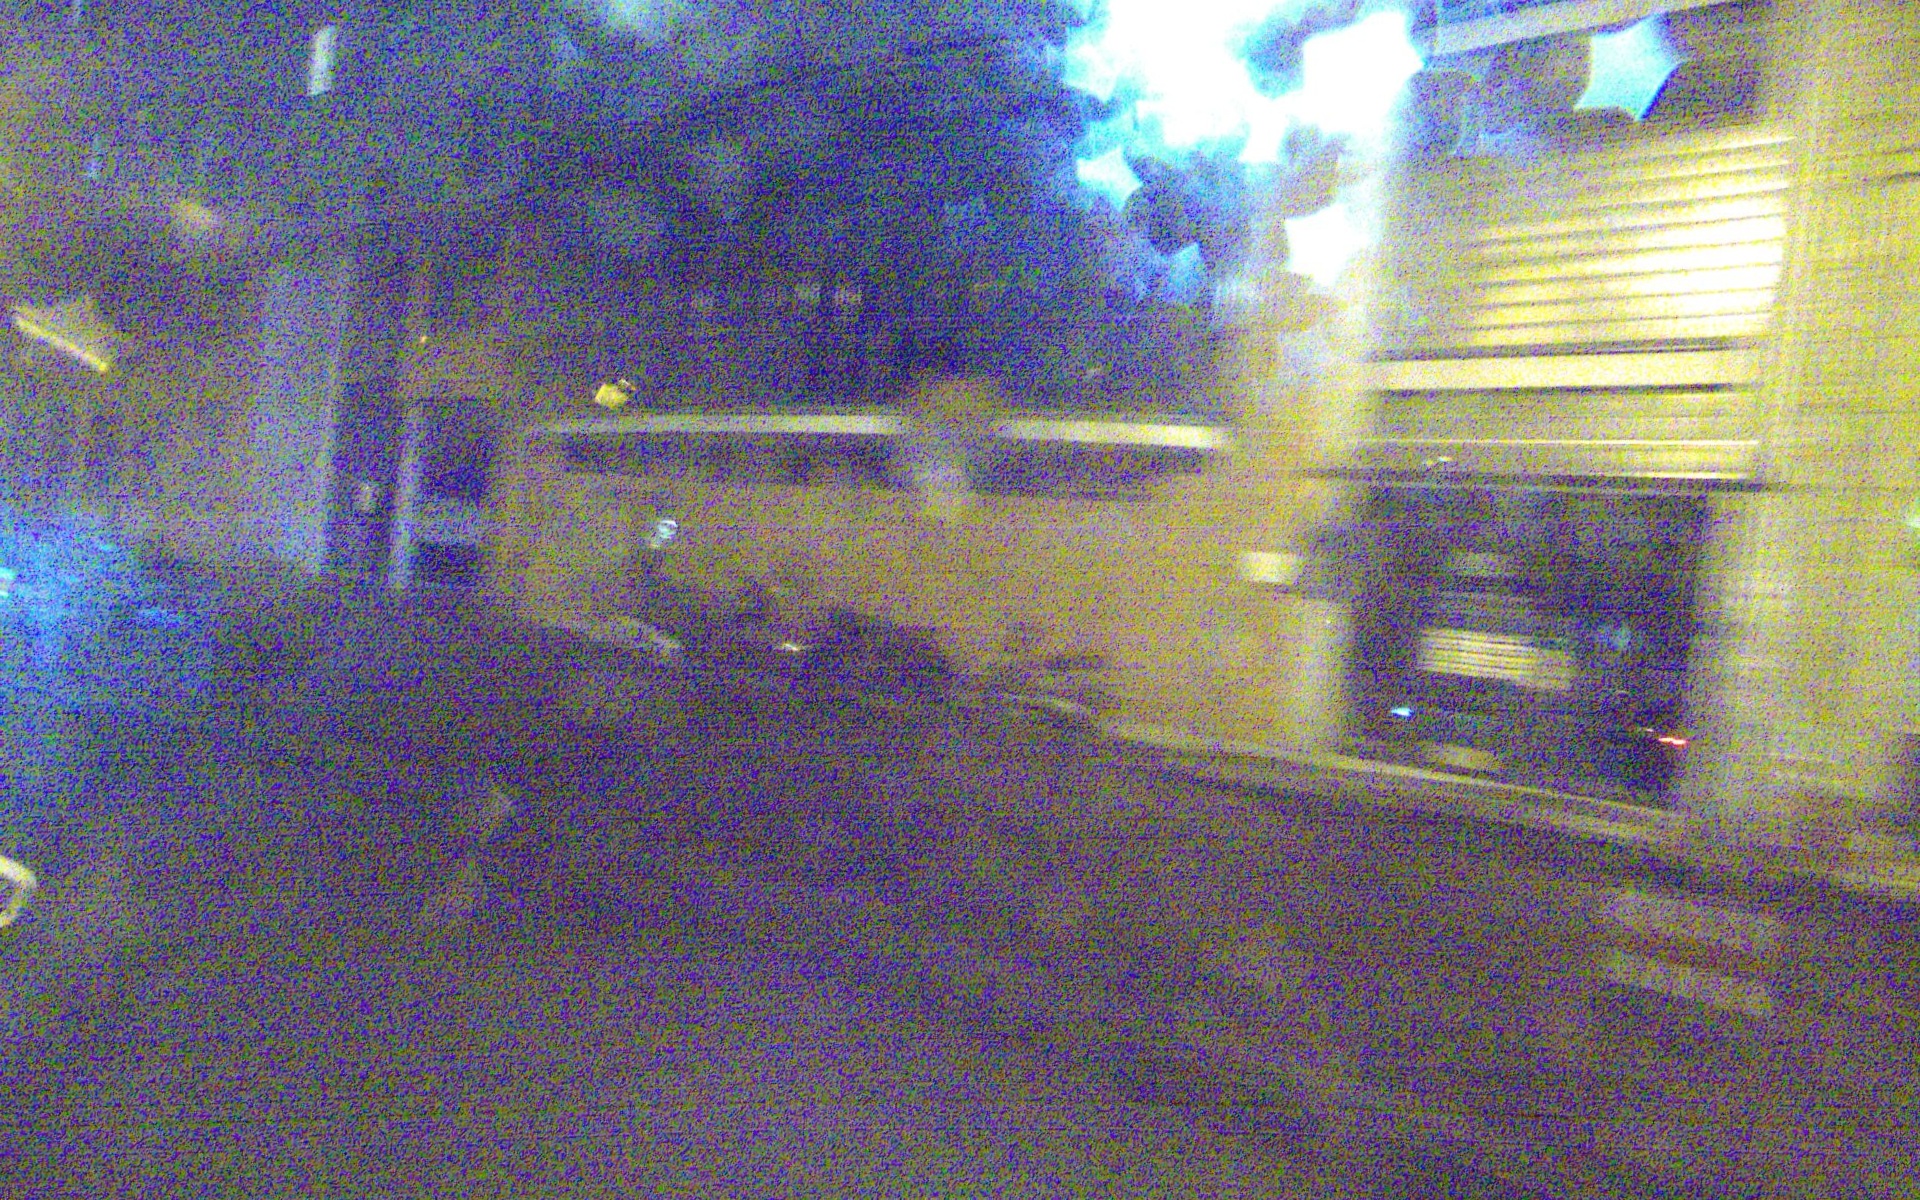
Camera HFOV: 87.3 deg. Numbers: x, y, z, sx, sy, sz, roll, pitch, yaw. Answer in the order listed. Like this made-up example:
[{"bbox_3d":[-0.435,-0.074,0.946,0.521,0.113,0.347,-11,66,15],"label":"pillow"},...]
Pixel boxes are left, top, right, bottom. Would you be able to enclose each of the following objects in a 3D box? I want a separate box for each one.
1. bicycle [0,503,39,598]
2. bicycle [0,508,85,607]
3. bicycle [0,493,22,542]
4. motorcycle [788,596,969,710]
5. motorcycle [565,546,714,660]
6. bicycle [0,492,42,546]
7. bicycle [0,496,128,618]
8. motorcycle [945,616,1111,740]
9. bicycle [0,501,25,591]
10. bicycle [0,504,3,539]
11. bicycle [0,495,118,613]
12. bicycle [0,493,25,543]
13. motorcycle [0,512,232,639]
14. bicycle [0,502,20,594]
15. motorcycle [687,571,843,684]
[{"bbox_3d":[-12.440,-0.673,12.323,0.410,1.172,1.598,7,1,29],"label":"bicycle"},{"bbox_3d":[-11.552,-0.543,11.978,0.410,1.126,1.598,7,1,29],"label":"bicycle"},{"bbox_3d":[-23.775,-2.058,24.182,0.477,1.162,1.688,7,2,25],"label":"bicycle"},{"bbox_3d":[-0.980,0.609,11.863,2.021,1.080,0.524,7,-1,25],"label":"motorcycle"},{"bbox_3d":[-4.565,0.030,14.266,2.088,1.334,0.524,7,0,26],"label":"motorcycle"},{"bbox_3d":[-21.944,-1.880,22.734,0.421,1.162,1.688,7,2,25],"label":"bicycle"},{"bbox_3d":[-10.346,-0.491,11.113,0.379,1.250,1.664,8,1,35],"label":"bicycle"},{"bbox_3d":[0.719,0.821,10.799,1.597,1.080,0.524,7,-1,31],"label":"motorcycle"},{"bbox_3d":[-13.126,-0.769,12.870,0.410,1.172,1.598,7,1,29],"label":"bicycle"},{"bbox_3d":[-13.767,-0.794,13.237,0.531,1.172,1.593,8,1,40],"label":"bicycle"},{"bbox_3d":[-10.715,-0.540,11.476,0.411,1.250,1.580,8,1,35],"label":"bicycle"},{"bbox_3d":[-23.366,-2.016,23.849,0.421,1.162,1.688,7,2,25],"label":"bicycle"},{"bbox_3d":[-8.530,-0.209,10.245,0.641,1.138,1.635,7,2,26],"label":"motorcycle"},{"bbox_3d":[-12.842,-0.723,12.491,0.410,1.172,1.598,7,1,29],"label":"bicycle"},{"bbox_3d":[-2.593,0.344,13.267,2.090,1.222,0.523,7,-1,32],"label":"motorcycle"}]
